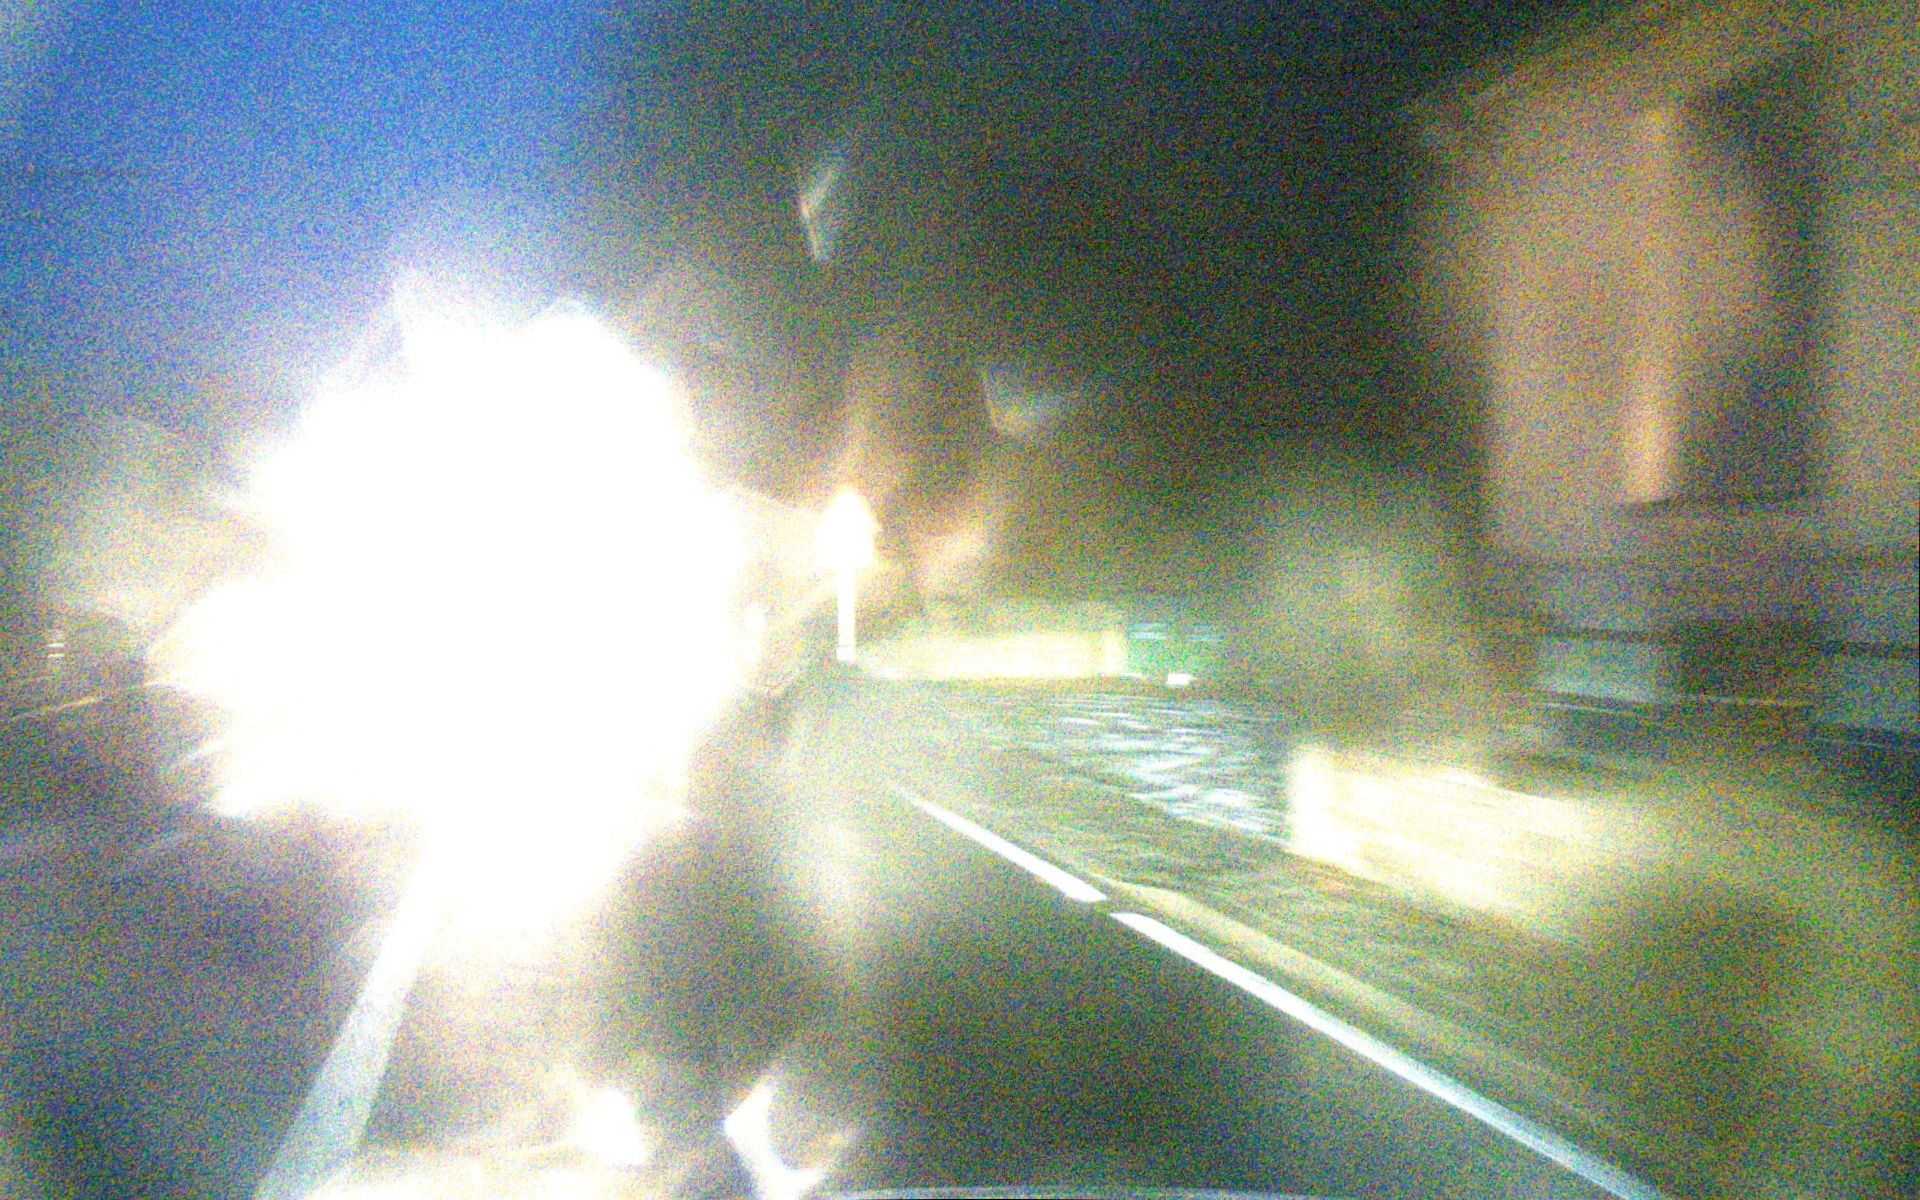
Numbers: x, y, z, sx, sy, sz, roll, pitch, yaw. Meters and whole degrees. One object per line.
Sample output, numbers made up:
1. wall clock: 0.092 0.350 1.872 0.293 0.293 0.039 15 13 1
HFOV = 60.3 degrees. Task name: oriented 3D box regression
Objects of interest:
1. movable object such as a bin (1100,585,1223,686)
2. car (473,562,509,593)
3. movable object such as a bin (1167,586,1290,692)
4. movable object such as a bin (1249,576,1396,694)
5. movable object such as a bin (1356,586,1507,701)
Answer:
1. movable object such as a bin: 2.873 0.488 23.523 1.297 1.331 1.171 -1 2 39
2. car: -27.866 -1.336 98.405 1.857 1.700 3.987 -2 2 -14
3. movable object such as a bin: 3.633 0.499 22.353 1.210 1.348 1.147 0 2 41
4. movable object such as a bin: 4.702 0.448 21.468 1.241 1.438 1.369 -2 0 -43
5. movable object such as a bin: 5.784 0.524 20.303 1.241 1.321 1.297 -2 0 -43
